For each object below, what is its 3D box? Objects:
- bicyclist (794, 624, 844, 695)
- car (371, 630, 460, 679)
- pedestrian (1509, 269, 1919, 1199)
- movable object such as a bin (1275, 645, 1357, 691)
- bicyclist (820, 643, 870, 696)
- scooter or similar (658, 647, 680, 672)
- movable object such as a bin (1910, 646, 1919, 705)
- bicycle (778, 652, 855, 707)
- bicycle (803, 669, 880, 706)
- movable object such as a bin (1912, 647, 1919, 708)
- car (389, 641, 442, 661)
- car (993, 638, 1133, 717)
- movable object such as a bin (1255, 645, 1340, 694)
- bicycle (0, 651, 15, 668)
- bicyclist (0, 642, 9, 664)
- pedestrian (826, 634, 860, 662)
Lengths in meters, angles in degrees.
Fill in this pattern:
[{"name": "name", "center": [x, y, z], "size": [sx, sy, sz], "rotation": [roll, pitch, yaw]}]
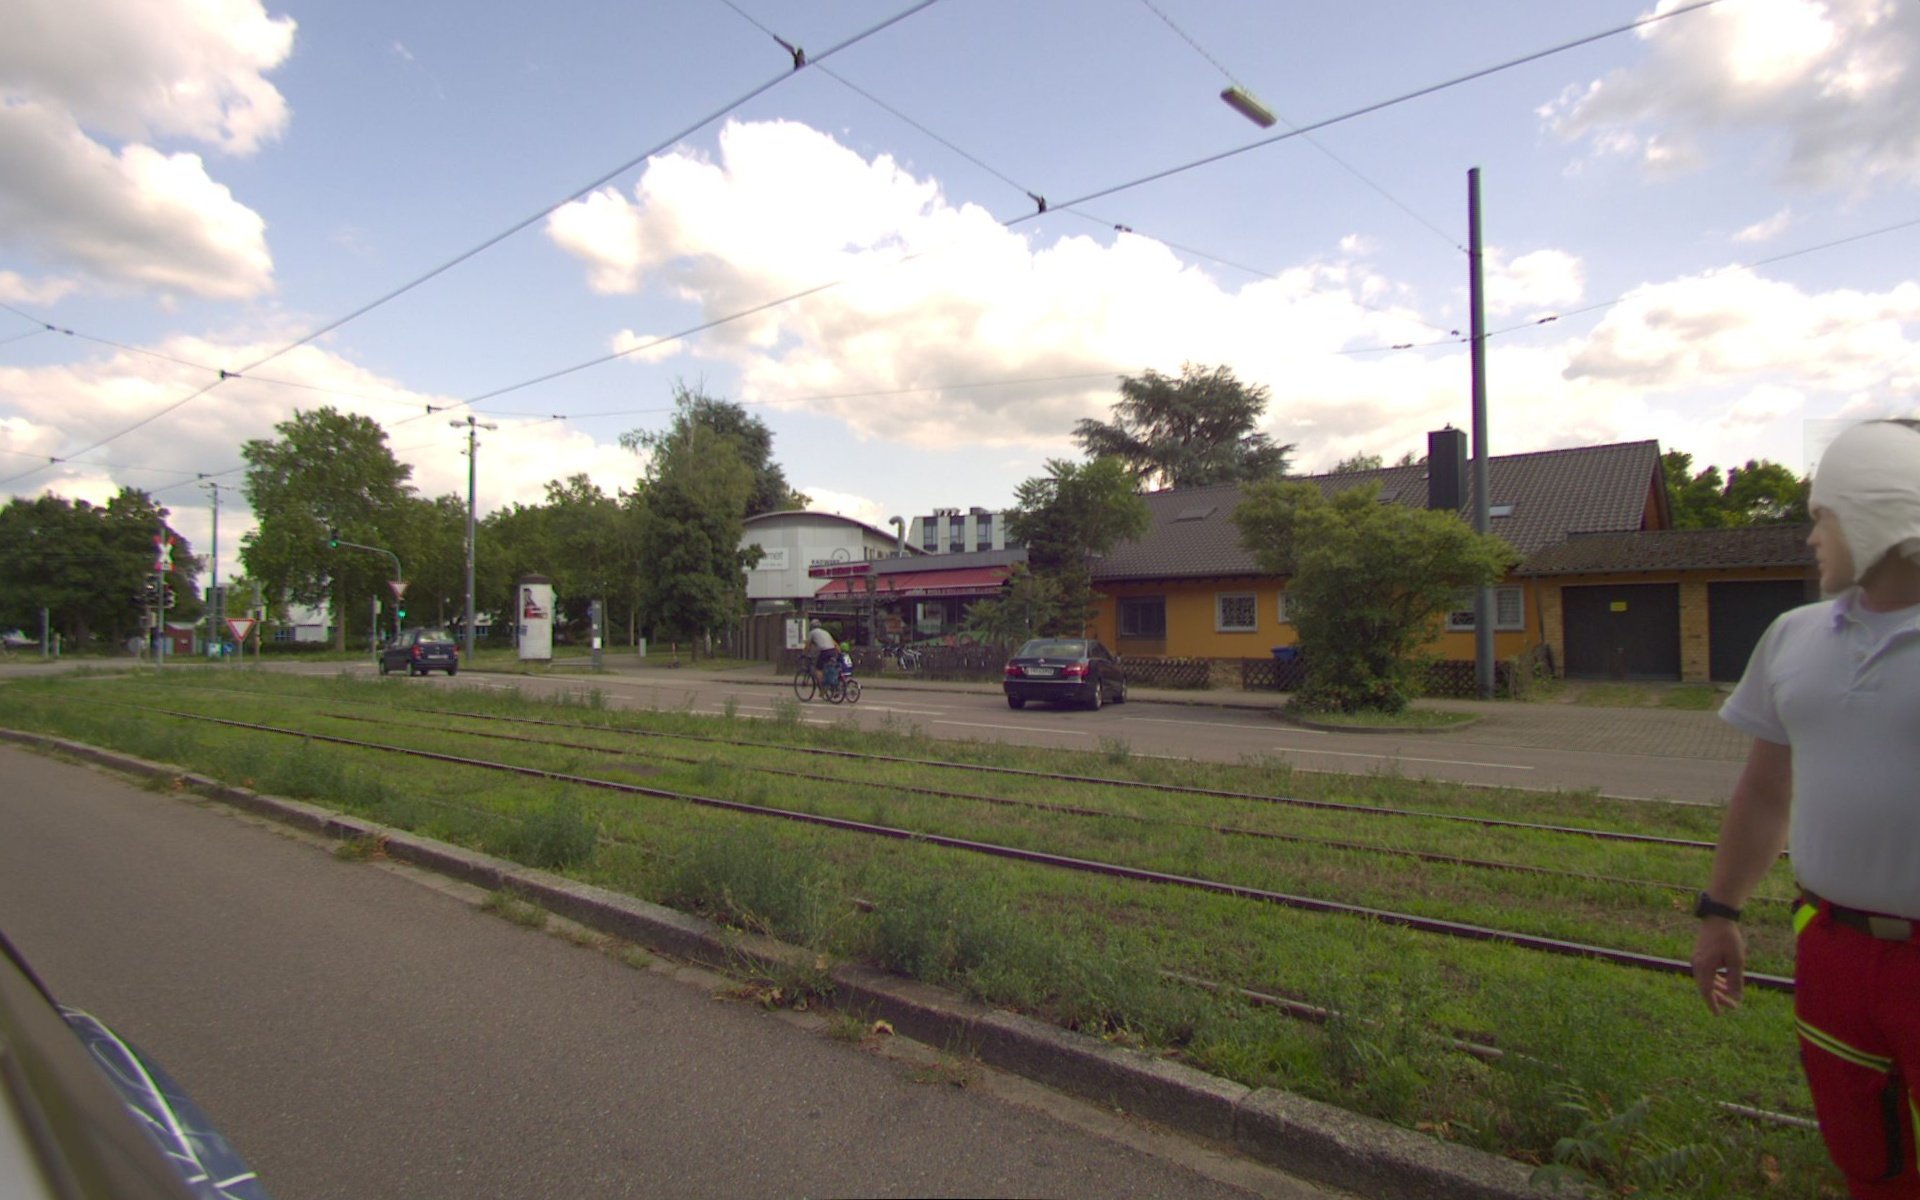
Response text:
[{"name": "bicyclist", "center": [-2.987, 1.245, 21.450], "size": [0.928, 1.469, 0.616], "rotation": [-2, -3, 42]}, {"name": "car", "center": [-19.460, 1.903, 36.138], "size": [3.495, 1.639, 1.759], "rotation": [-2, -2, 43]}, {"name": "pedestrian", "center": [1.461, 0.467, 1.443], "size": [0.836, 1.699, 0.808], "rotation": [0, -2, -22]}, {"name": "movable object such as a bin", "center": [8.982, 1.698, 25.552], "size": [1.616, 1.101, 1.242], "rotation": [-2, -3, 39]}, {"name": "bicyclist", "center": [-2.497, 1.490, 21.955], "size": [0.928, 1.121, 0.632], "rotation": [-2, -3, 43]}, {"name": "scooter or similar", "center": [-12.203, 2.489, 42.422], "size": [0.421, 1.041, 1.225], "rotation": [1, -3, -40]}, {"name": "movable object such as a bin", "center": [17.639, 1.365, 18.387], "size": [0.479, 1.050, 0.488], "rotation": [-3, -2, 40]}, {"name": "bicycle", "center": [-3.057, 1.669, 21.495], "size": [1.805, 1.088, 0.638], "rotation": [-2, -3, 43]}, {"name": "bicycle", "center": [-2.597, 1.896, 22.041], "size": [1.805, 0.723, 0.638], "rotation": [-2, -3, 43]}, {"name": "movable object such as a bin", "center": [17.285, 1.369, 17.961], "size": [0.481, 1.050, 0.499], "rotation": [-3, -2, 40]}, {"name": "car", "center": [-41.783, 3.901, 77.713], "size": [1.679, 1.535, 3.847], "rotation": [0, -2, 8]}, {"name": "car", "center": [2.295, 1.537, 21.278], "size": [1.869, 1.418, 4.620], "rotation": [0, -2, 20]}, {"name": "movable object such as a bin", "center": [8.122, 1.655, 24.380], "size": [1.616, 1.109, 1.242], "rotation": [-2, -3, 39]}, {"name": "bicycle", "center": [-63.971, 4.000, 67.389], "size": [2.056, 1.068, 0.798], "rotation": [-3, -3, 23]}, {"name": "bicyclist", "center": [-64.095, 3.531, 67.448], "size": [0.827, 1.481, 0.798], "rotation": [-3, -3, 23]}, {"name": "pedestrian", "center": [-5.035, 2.069, 43.615], "size": [0.931, 1.155, 1.141], "rotation": [-2, -3, 41]}]
